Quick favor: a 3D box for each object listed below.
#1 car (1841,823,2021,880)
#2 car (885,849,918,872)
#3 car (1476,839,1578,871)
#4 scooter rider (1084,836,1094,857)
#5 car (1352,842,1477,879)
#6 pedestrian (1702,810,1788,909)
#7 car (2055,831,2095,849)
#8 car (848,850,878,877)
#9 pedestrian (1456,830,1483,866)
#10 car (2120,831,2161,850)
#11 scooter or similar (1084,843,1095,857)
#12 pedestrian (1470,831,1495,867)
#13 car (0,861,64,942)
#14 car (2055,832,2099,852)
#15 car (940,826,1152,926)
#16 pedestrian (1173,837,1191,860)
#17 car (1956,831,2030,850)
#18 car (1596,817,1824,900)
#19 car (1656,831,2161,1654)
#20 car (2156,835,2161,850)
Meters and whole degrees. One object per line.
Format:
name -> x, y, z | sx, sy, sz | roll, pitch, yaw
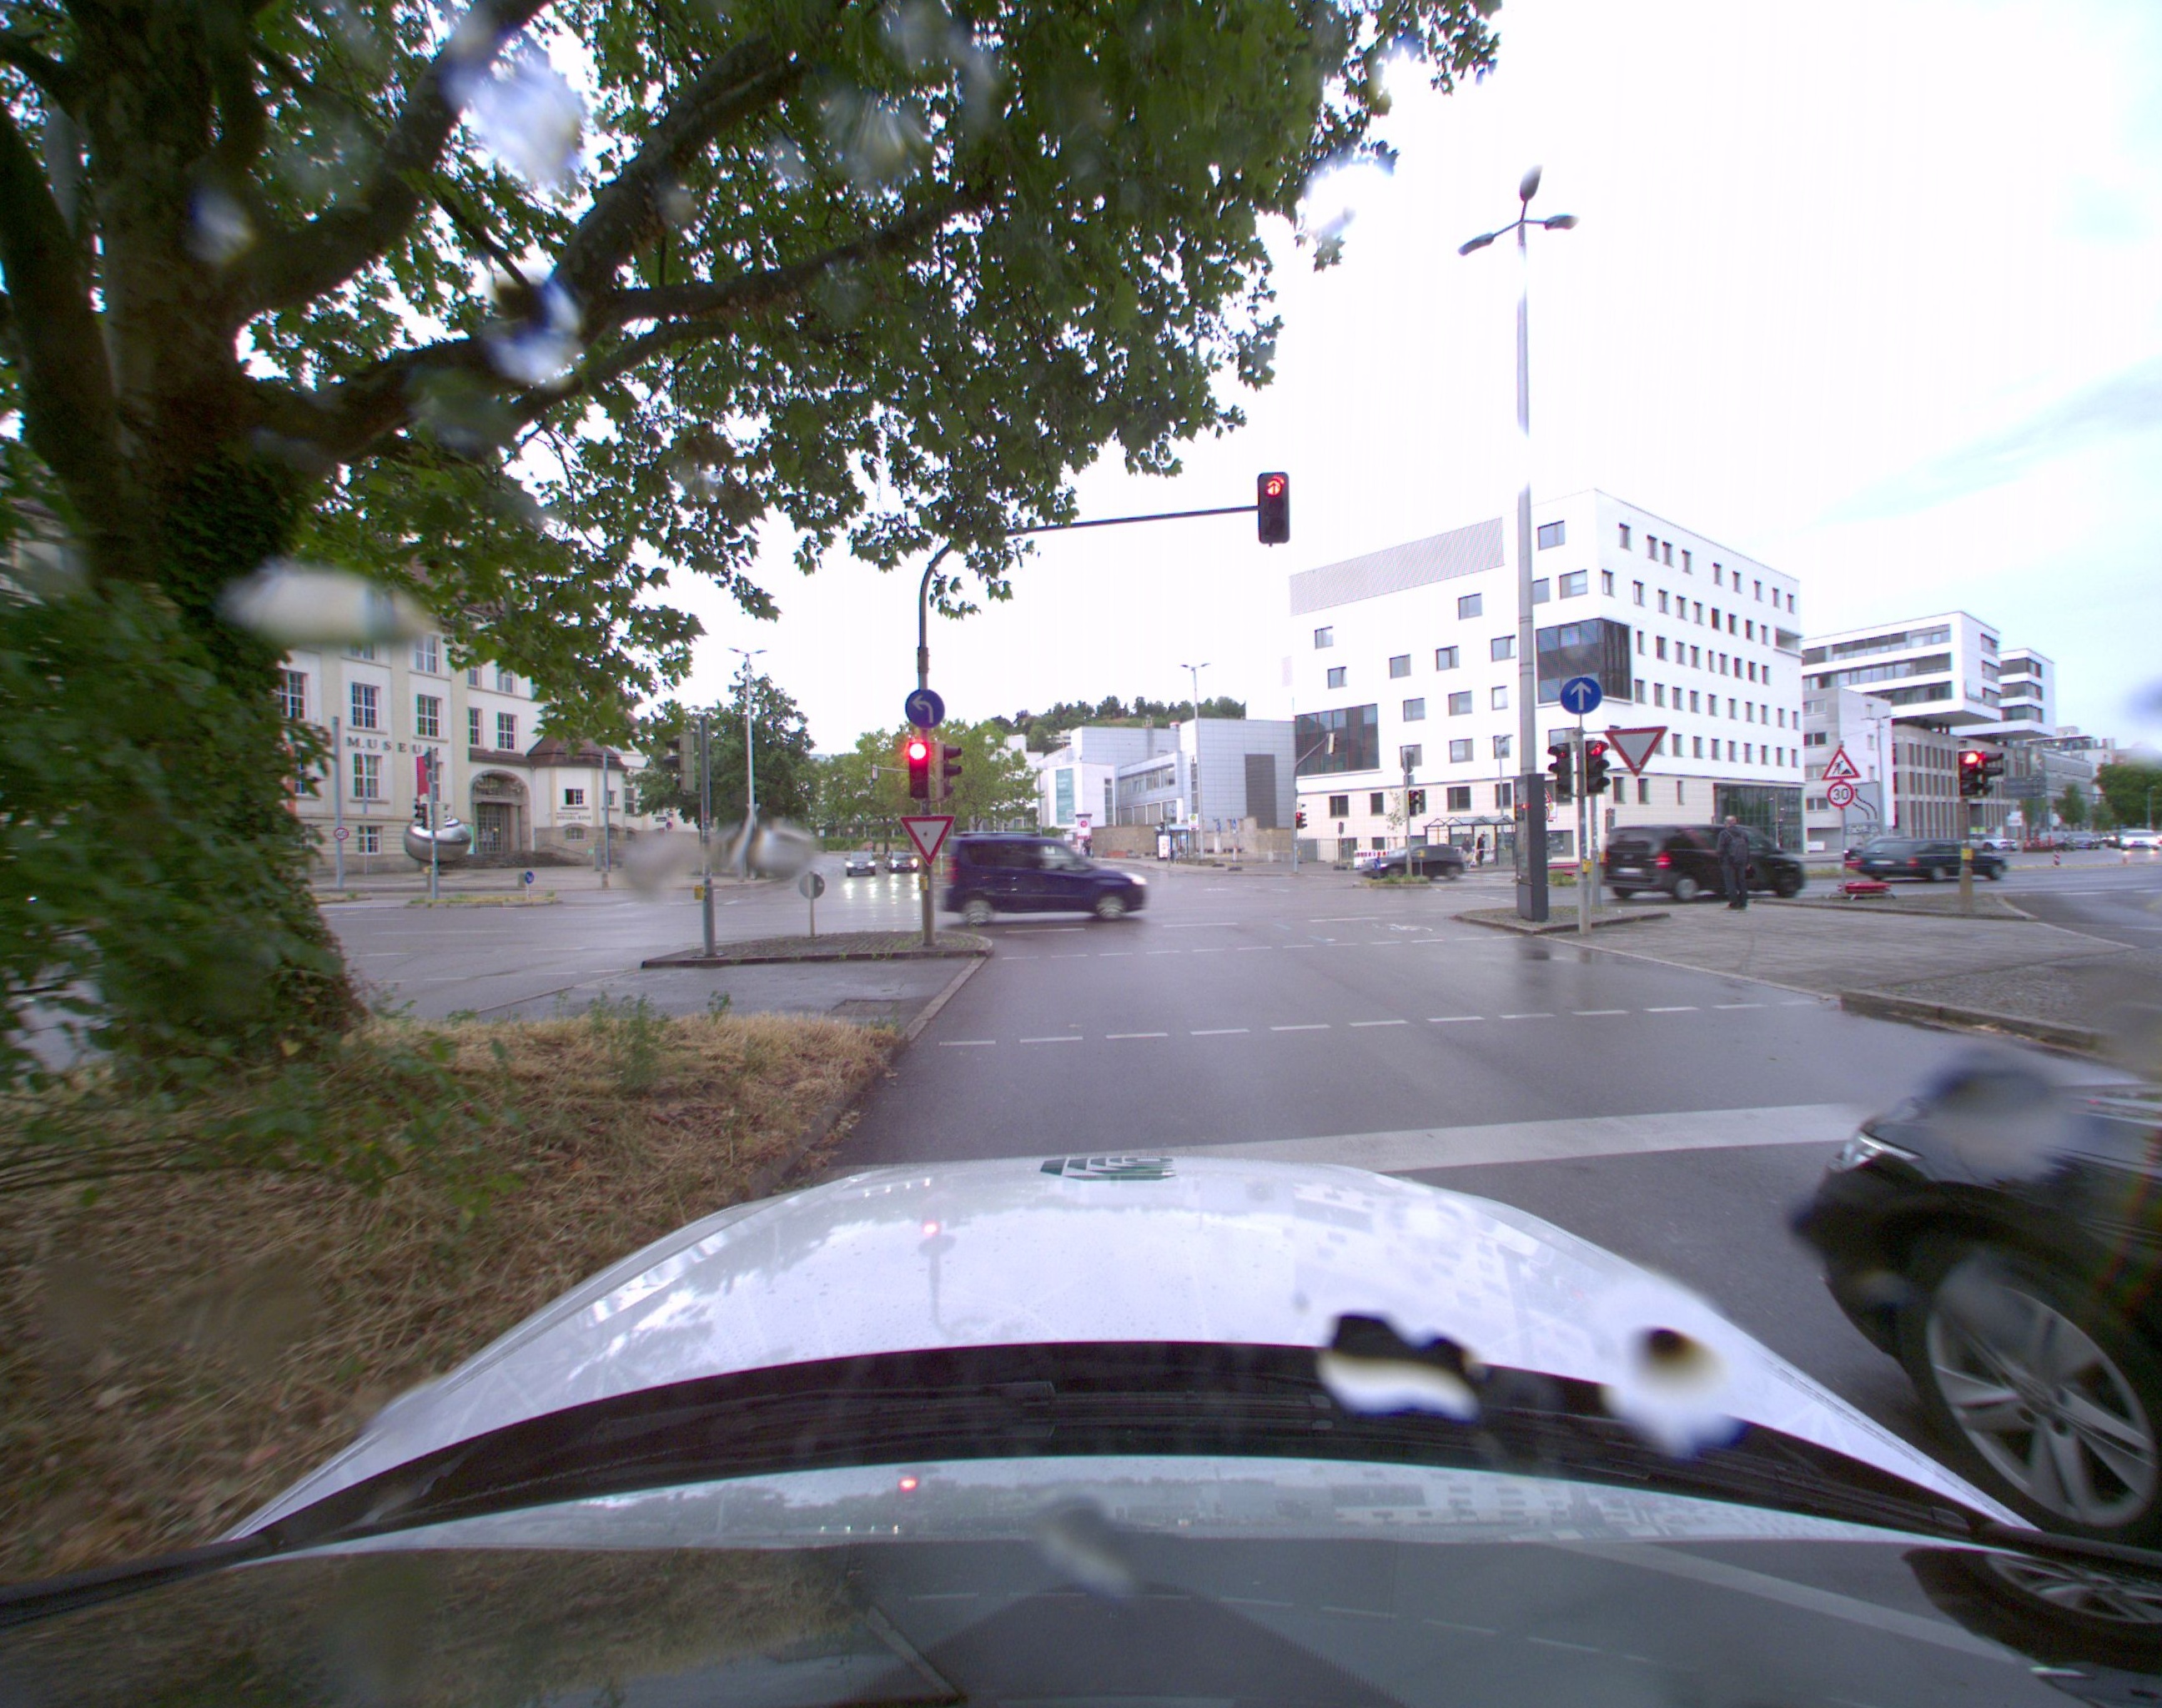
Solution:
car -> 28.330, -0.096, 27.178 | 4.963, 1.673, 1.990 | -2, 0, -15
car -> -12.907, 0.428, 58.417 | 1.795, 1.584, 3.973 | -2, 1, -20
car -> 20.731, 0.043, 37.882 | 3.991, 1.443, 1.790 | 0, 0, -13
scooter rider -> 0.736, -0.685, 74.186 | 0.725, 1.883, 0.628 | 0, -1, -19
car -> 13.712, 0.245, 33.668 | 4.367, 1.378, 1.996 | -1, 0, -6
pedestrian -> 13.181, 0.118, 16.194 | 0.826, 1.892, 1.025 | 0, -1, -7
car -> 78.685, -1.093, 64.468 | 4.409, 1.378, 1.977 | -1, 1, -39
car -> -14.593, 0.590, 54.507 | 1.871, 1.564, 4.254 | -2, 1, -15
pedestrian -> 20.187, -0.305, 42.302 | 0.951, 1.840, 0.821 | 0, -1, -10
car -> 78.327, -1.002, 60.100 | 4.409, 1.378, 1.977 | -1, 1, -39
scooter or similar -> 0.769, -0.368, 74.219 | 0.593, 1.239, 1.305 | 0, -1, -19
pedestrian -> 21.805, -0.263, 44.233 | 0.995, 1.935, 0.957 | 0, -1, 11
car -> -25.414, 1.076, 17.912 | 4.642, 1.705, 1.804 | -1, 1, 11
car -> 72.390, -0.848, 59.186 | 4.409, 1.378, 1.977 | -1, 1, -39
car -> -0.786, 0.416, 17.482 | 4.293, 1.908, 1.793 | -1, 1, -8
pedestrian -> 7.697, -0.389, 61.988 | 1.253, 1.719, 1.016 | 0, -1, 0
car -> 75.945, -1.139, 67.903 | 1.949, 1.557, 4.073 | 0, 1, 8
car -> 15.665, 0.071, 20.356 | 4.779, 1.809, 1.990 | -2, 1, -15
car -> 2.775, 0.714, 0.487 | 1.665, 1.466, 4.512 | -1, 1, -1
car -> 123.410, -1.335, 92.135 | 4.409, 1.664, 1.977 | -1, 1, -39
